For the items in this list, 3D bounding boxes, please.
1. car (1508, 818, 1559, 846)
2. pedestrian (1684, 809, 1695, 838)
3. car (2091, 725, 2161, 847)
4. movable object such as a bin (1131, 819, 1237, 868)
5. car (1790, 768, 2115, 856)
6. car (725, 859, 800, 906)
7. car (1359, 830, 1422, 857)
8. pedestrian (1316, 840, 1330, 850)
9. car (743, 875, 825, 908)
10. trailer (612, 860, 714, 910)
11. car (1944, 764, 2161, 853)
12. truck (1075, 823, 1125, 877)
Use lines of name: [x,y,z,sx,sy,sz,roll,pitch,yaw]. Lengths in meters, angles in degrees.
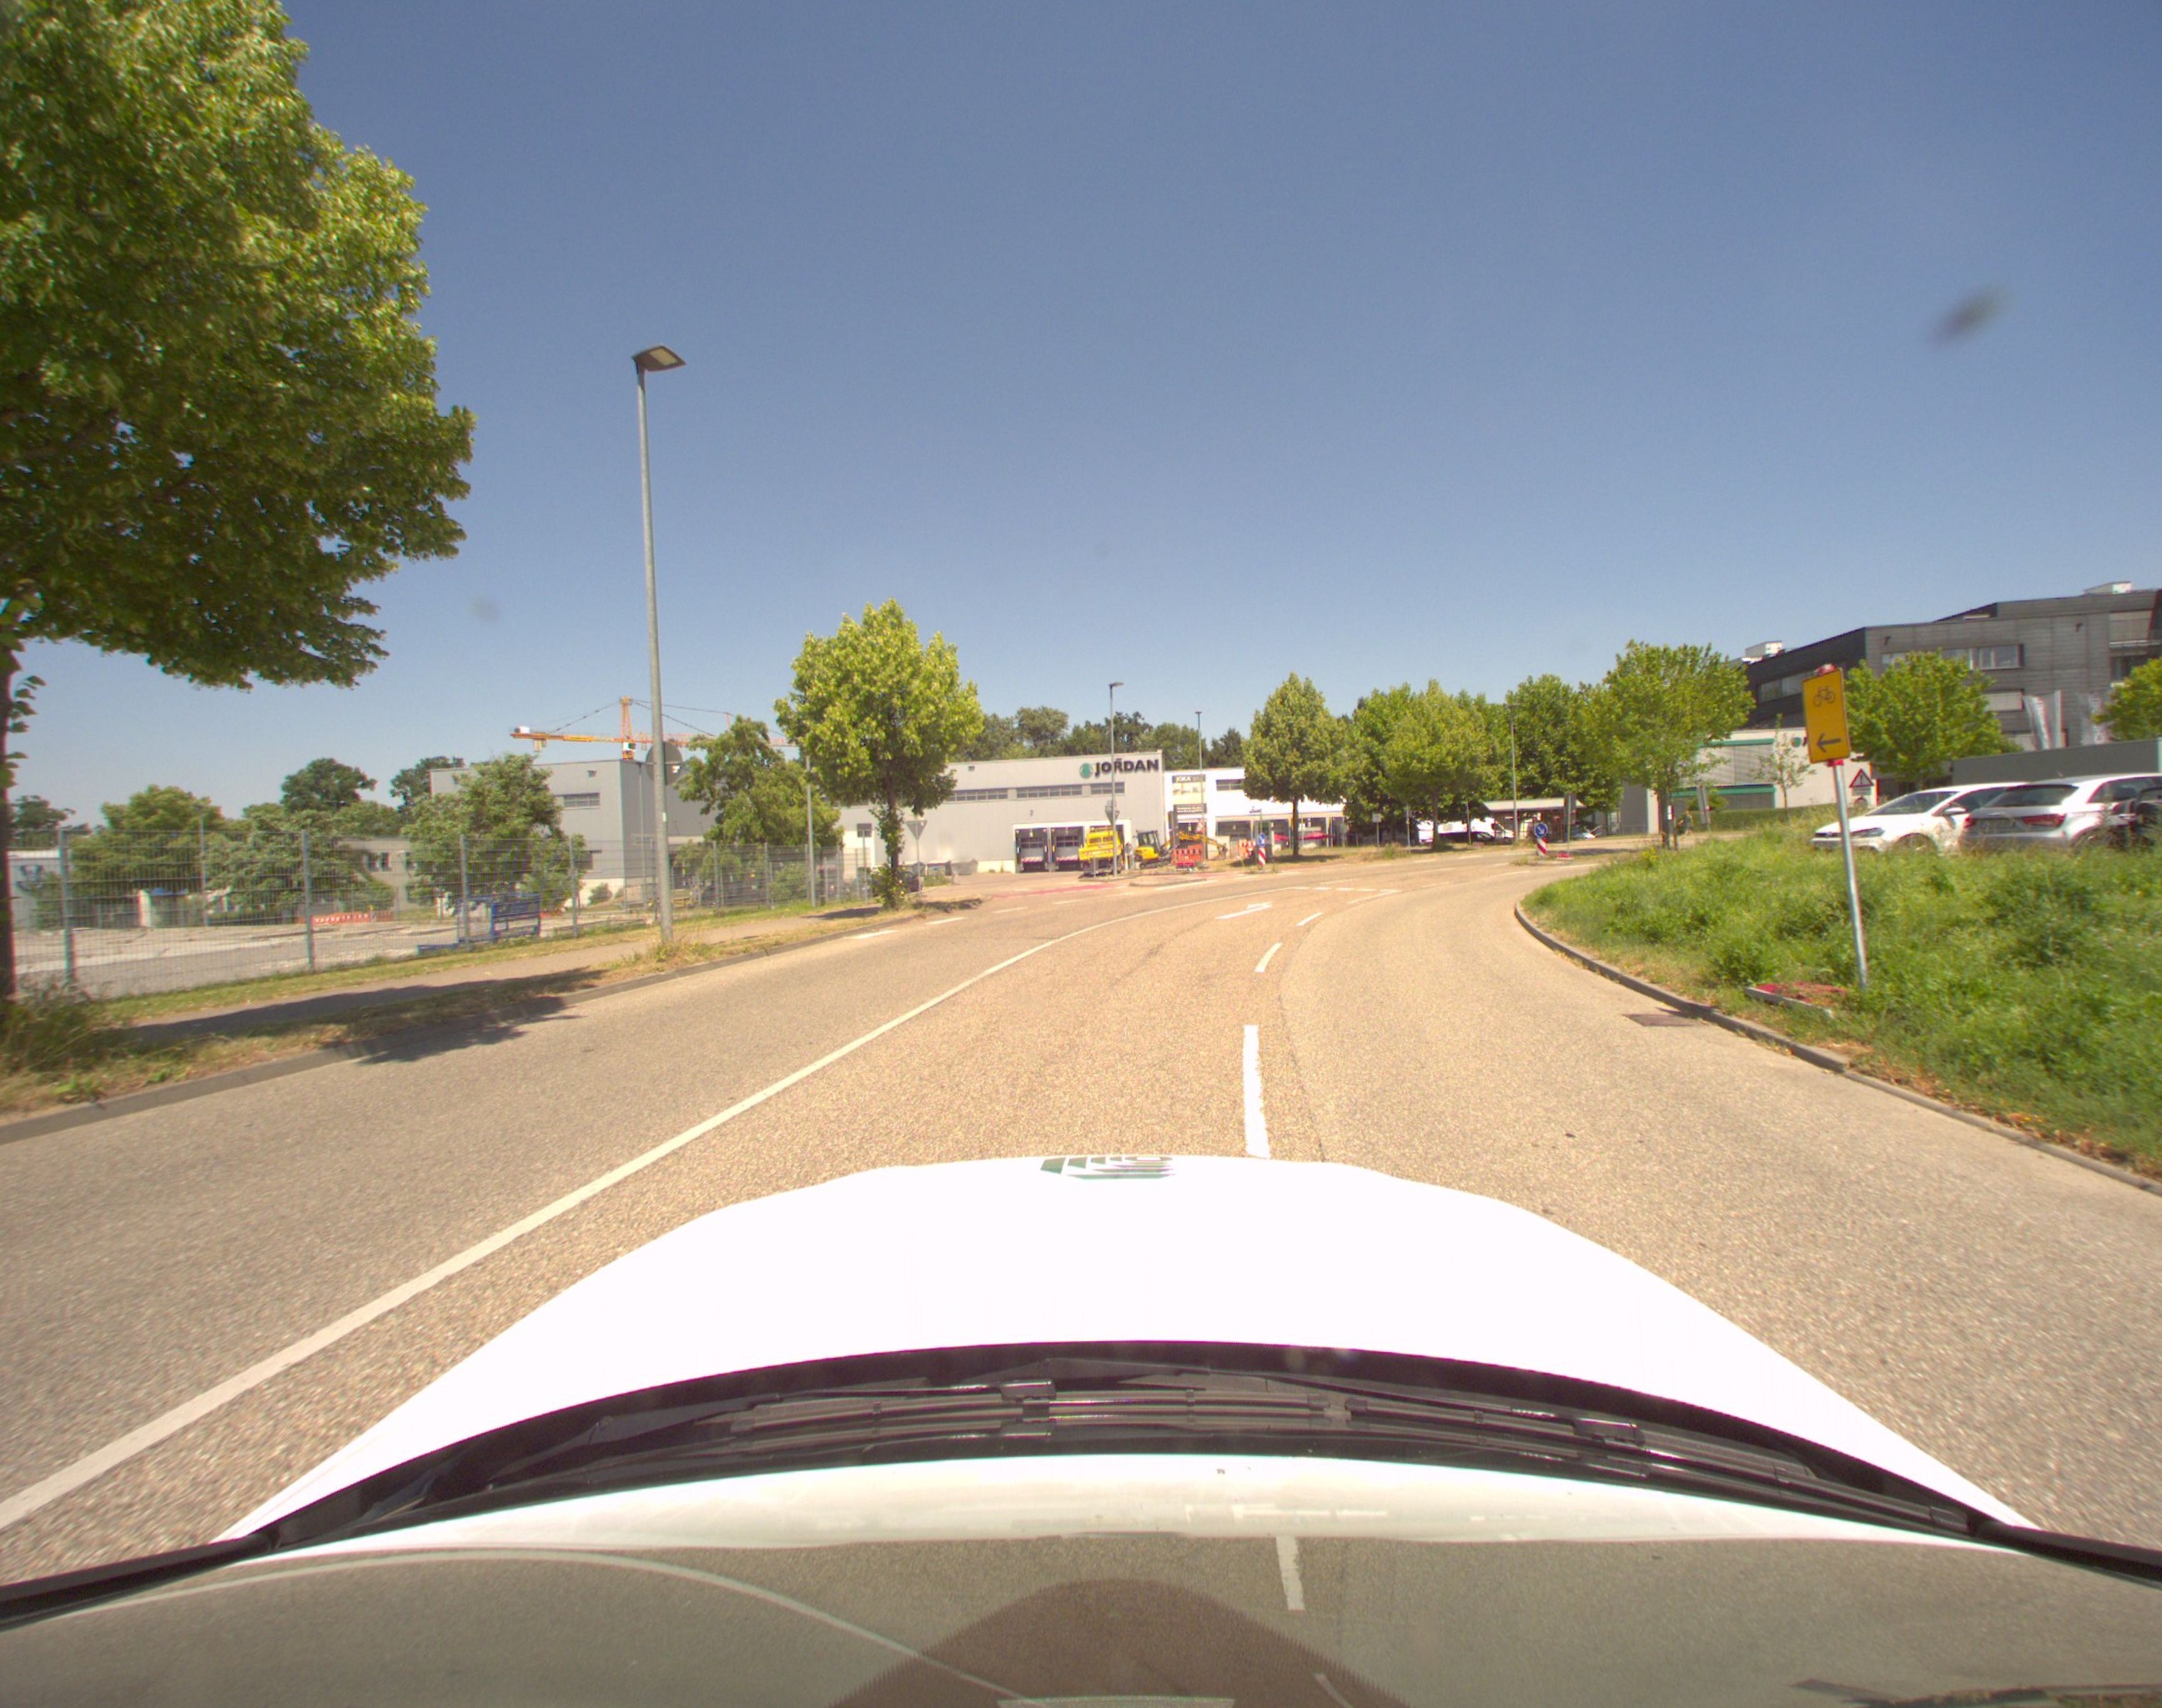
car: [35.075,-1.646,63.238,1.540,2.014,4.262,0,-1,-2]
pedestrian: [36.566,-1.817,48.948,0.524,1.670,0.583,-1,-1,36]
car: [15.529,-0.950,9.876,3.710,1.527,1.883,-2,-2,13]
movable object such as a bin: [6.808,-0.661,53.790,6.510,2.581,2.007,-5,-1,13]
car: [15.623,-0.706,14.805,3.842,1.297,1.578,-2,-2,9]
car: [-21.390,1.842,54.943,1.983,2.732,5.811,-3,1,7]
car: [22.769,-0.758,60.055,3.962,1.728,1.846,-4,0,10]
pedestrian: [18.535,-0.710,62.374,0.855,0.695,0.410,-4,0,32]
car: [-16.471,2.098,45.094,4.539,1.635,1.882,-4,-2,34]
trailer: [-28.766,2.112,56.186,5.476,2.856,2.669,-4,2,5]
car: [15.559,-0.680,12.277,3.242,1.182,1.504,-2,-2,8]
truck: [1.350,-0.370,53.935,2.575,3.135,6.435,-5,2,5]
